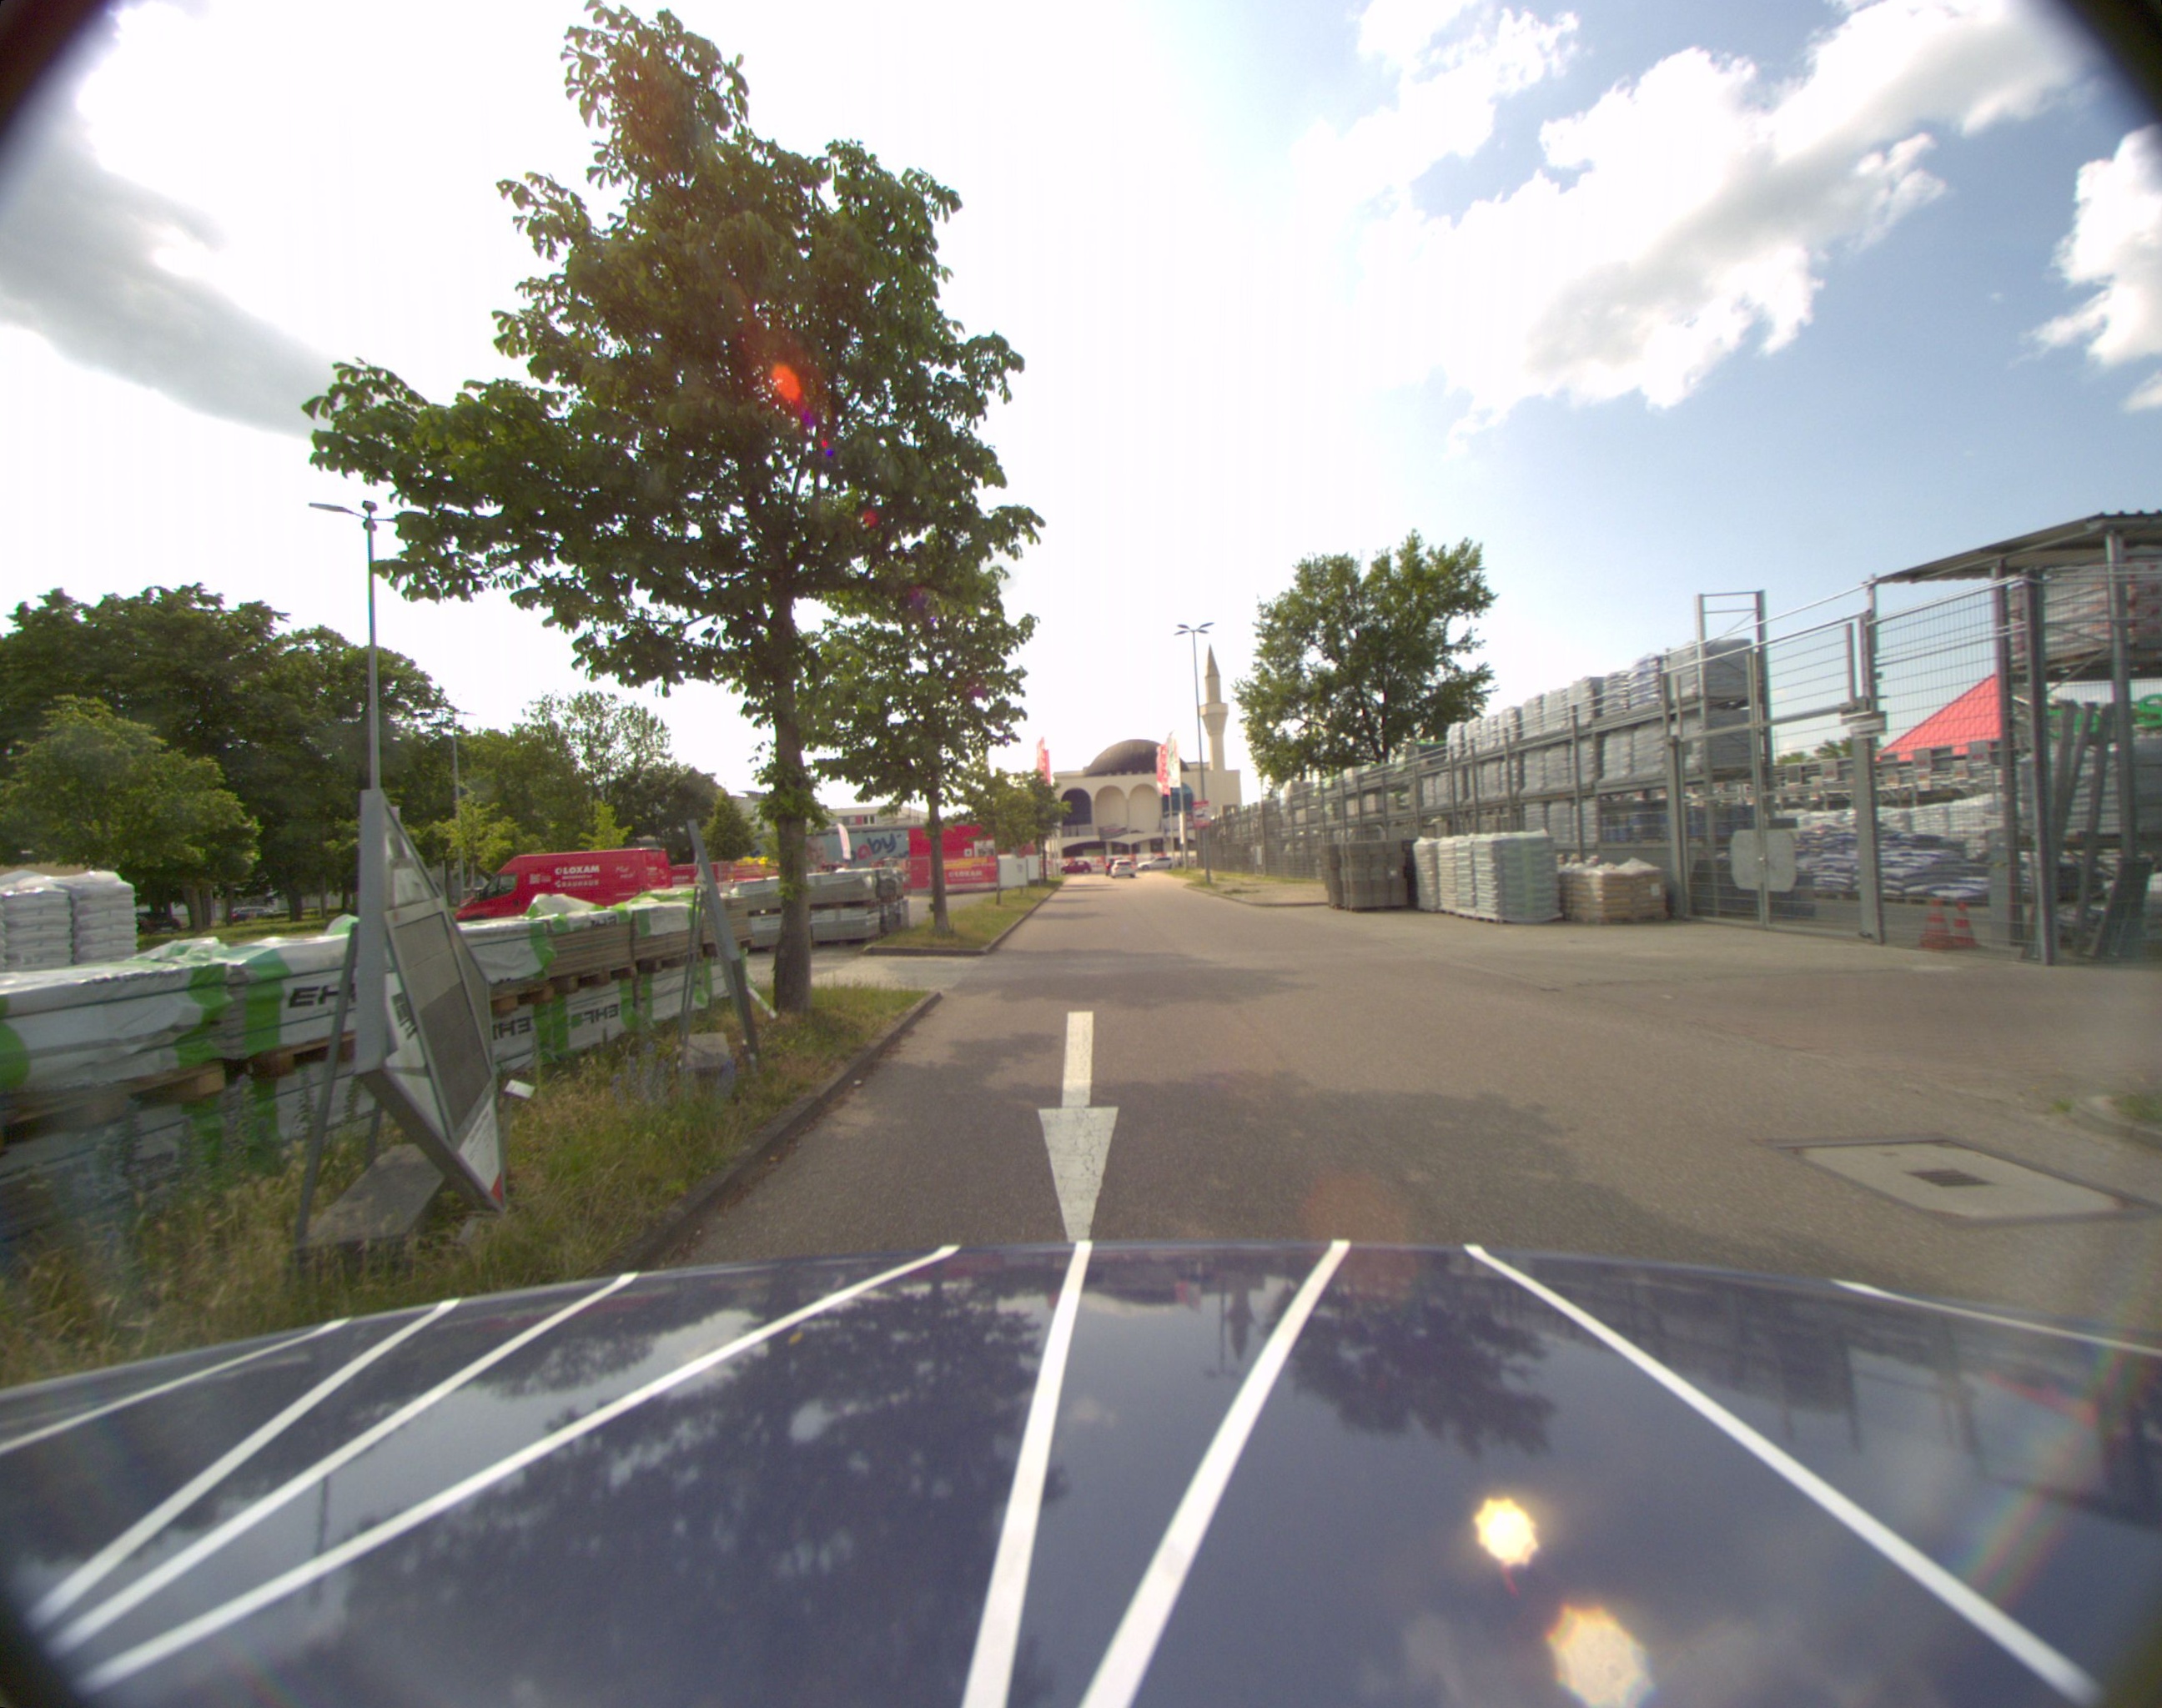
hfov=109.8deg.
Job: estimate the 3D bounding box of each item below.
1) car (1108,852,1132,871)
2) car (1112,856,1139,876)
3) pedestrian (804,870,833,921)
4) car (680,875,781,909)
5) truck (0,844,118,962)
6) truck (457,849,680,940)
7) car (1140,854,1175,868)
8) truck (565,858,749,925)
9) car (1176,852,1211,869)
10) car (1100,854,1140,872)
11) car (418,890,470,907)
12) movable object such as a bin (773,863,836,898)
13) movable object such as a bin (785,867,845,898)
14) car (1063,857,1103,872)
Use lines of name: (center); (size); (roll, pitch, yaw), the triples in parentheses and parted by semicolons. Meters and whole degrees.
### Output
car: (3.553, 0.686, 70.638); (1.920, 1.608, 4.374); (-2, -1, -1)
car: (3.546, 0.950, 61.172); (1.808, 1.456, 4.329); (-3, 0, 0)
pedestrian: (-9.048, 1.406, 26.193); (0.600, 1.682, 0.879); (-2, 1, 2)
car: (-17.267, 1.874, 37.545); (4.144, 1.406, 1.617); (-2, 0, -5)
truck: (-34.189, 1.539, 21.215); (2.728, 3.577, 9.038); (-2, 0, 2)
truck: (-15.996, 1.228, 23.972); (5.442, 2.500, 2.116); (-3, 0, -2)
car: (8.467, 0.810, 83.970); (3.707, 1.358, 1.651); (-2, 0, 3)
truck: (-16.536, 1.421, 29.895); (5.860, 2.242, 2.173); (-3, 0, -2)
car: (12.048, 0.702, 81.718); (3.484, 1.491, 1.775); (-2, 3, 2)
car: (4.050, 0.952, 79.086); (3.997, 1.636, 1.907); (-3, 0, -2)
car: (-71.327, 4.936, 85.095); (3.998, 1.574, 1.999); (-3, 0, -3)
movable object such as a bin: (-15.784, 1.537, 43.505); (3.010, 1.832, 1.389); (-3, -1, 0)
movable object such as a bin: (-15.894, 1.711, 45.526); (3.010, 1.660, 1.389); (-3, 0, 0)
car: (0.240, 1.156, 83.866); (4.190, 1.500, 1.792); (-3, 0, 2)
